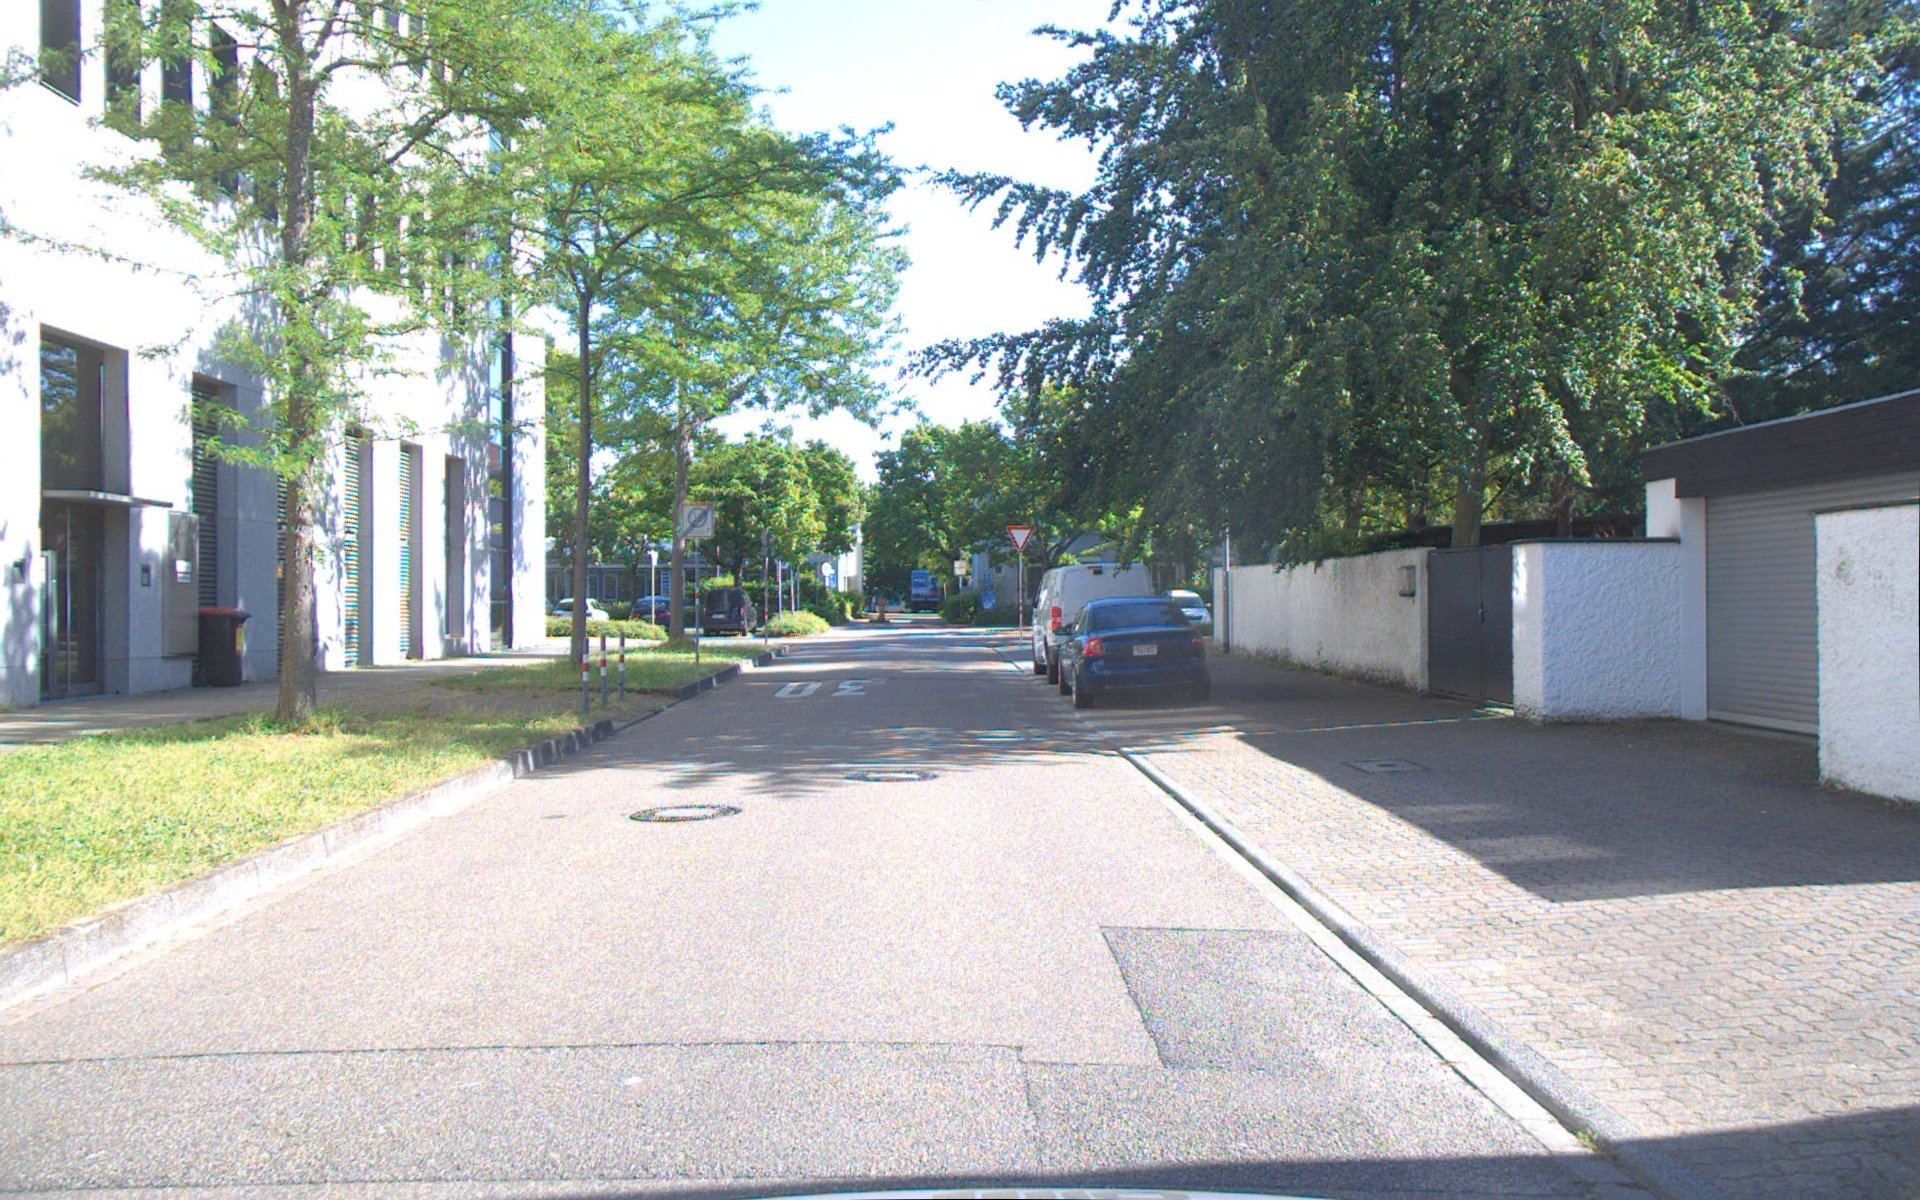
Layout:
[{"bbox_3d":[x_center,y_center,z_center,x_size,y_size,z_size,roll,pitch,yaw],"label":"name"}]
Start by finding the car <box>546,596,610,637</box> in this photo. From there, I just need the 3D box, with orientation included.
[{"bbox_3d":[-14.932,0.625,64.782,1.766,1.461,3.910,0,1,-3],"label":"car"}]

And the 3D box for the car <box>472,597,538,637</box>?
[{"bbox_3d":[-17.613,0.637,64.170,1.634,1.451,3.910,1,0,-3],"label":"car"}]

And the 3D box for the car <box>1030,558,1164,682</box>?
[{"bbox_3d":[2.317,0.315,29.189,1.860,1.947,5.147,-1,0,0],"label":"car"}]

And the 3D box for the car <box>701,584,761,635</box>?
[{"bbox_3d":[-8.932,0.340,64.765,1.836,1.879,4.168,-1,1,-1],"label":"car"}]

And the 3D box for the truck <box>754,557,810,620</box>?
[{"bbox_3d":[-11.325,-0.708,105.949,2.745,3.873,6.924,1,0,1],"label":"truck"}]

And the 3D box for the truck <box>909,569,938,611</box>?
[{"bbox_3d":[-3.459,-0.923,159.702,2.704,3.937,9.328,1,0,-1],"label":"truck"}]

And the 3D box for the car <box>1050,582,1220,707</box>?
[{"bbox_3d":[2.308,0.553,22.872,1.789,1.448,4.282,-3,0,0],"label":"car"}]

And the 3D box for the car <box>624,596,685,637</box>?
[{"bbox_3d":[-11.893,0.619,64.655,1.787,1.430,4.166,-1,1,-3],"label":"car"}]

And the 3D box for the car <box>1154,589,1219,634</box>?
[{"bbox_3d":[8.880,0.415,65.134,1.787,1.625,4.166,-1,1,-3],"label":"car"}]

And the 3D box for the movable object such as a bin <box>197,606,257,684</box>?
[{"bbox_3d":[-10.106,0.613,22.816,0.581,1.058,0.543,1,0,-3],"label":"movable object such as a bin"}]
